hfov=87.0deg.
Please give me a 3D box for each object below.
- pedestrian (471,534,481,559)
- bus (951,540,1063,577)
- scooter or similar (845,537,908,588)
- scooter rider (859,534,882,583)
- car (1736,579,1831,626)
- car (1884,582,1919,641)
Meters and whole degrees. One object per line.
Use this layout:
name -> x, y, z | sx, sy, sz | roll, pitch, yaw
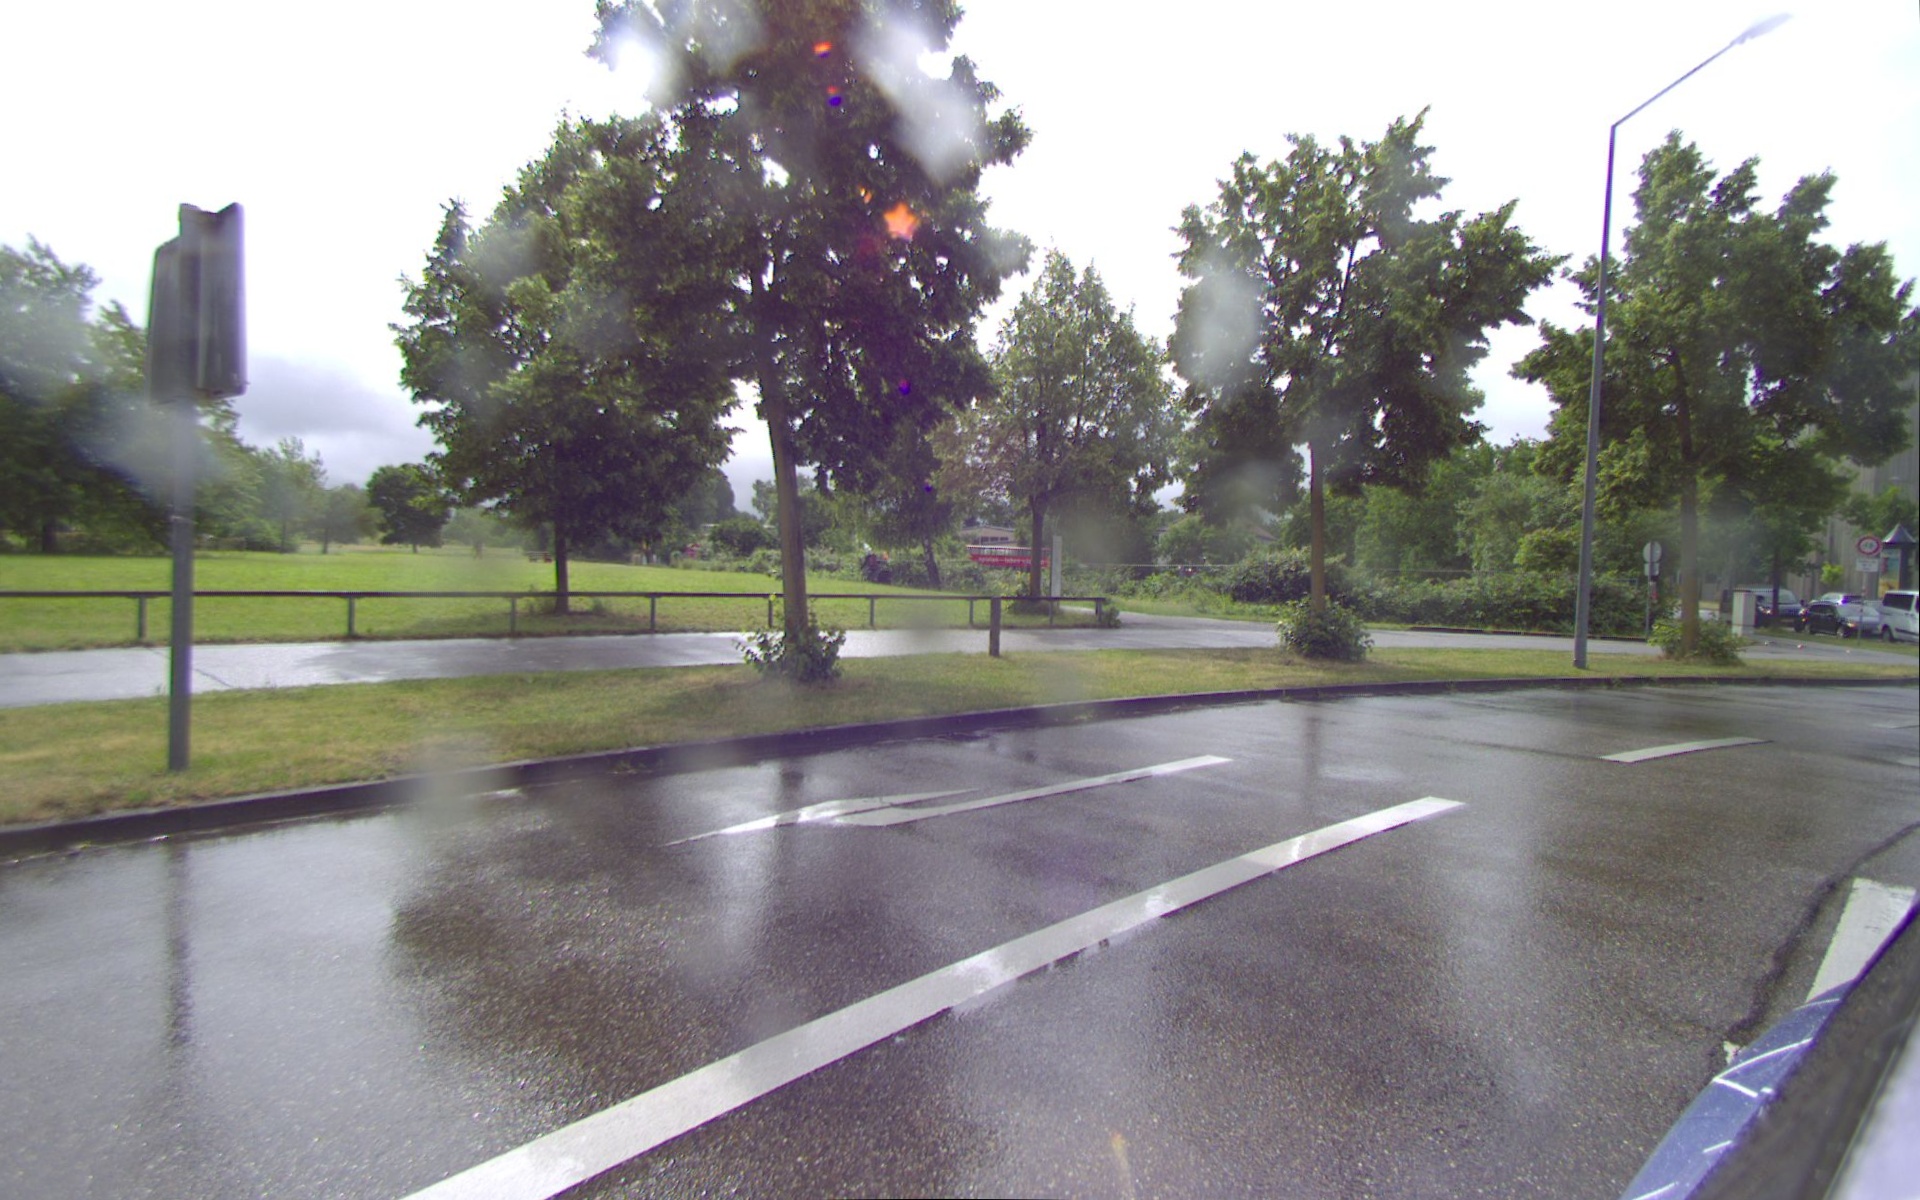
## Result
pedestrian -> -34.122, -3.759, 71.342 | 0.593, 1.754, 0.600 | 1, 0, -27
bus -> 4.628, -4.128, 100.141 | 10.816, 3.504, 1.993 | 1, 0, 12
scooter or similar -> -3.547, -1.533, 42.580 | 1.215, 2.039, 3.411 | 1, 0, -32
scooter rider -> -3.832, -1.754, 43.300 | 0.693, 2.039, 0.770 | 1, 0, -35
car -> 39.103, 0.058, 48.205 | 2.055, 2.012, 4.765 | 3, 2, 22
car -> 34.070, 0.453, 34.490 | 2.054, 2.012, 4.768 | 3, 2, 21
